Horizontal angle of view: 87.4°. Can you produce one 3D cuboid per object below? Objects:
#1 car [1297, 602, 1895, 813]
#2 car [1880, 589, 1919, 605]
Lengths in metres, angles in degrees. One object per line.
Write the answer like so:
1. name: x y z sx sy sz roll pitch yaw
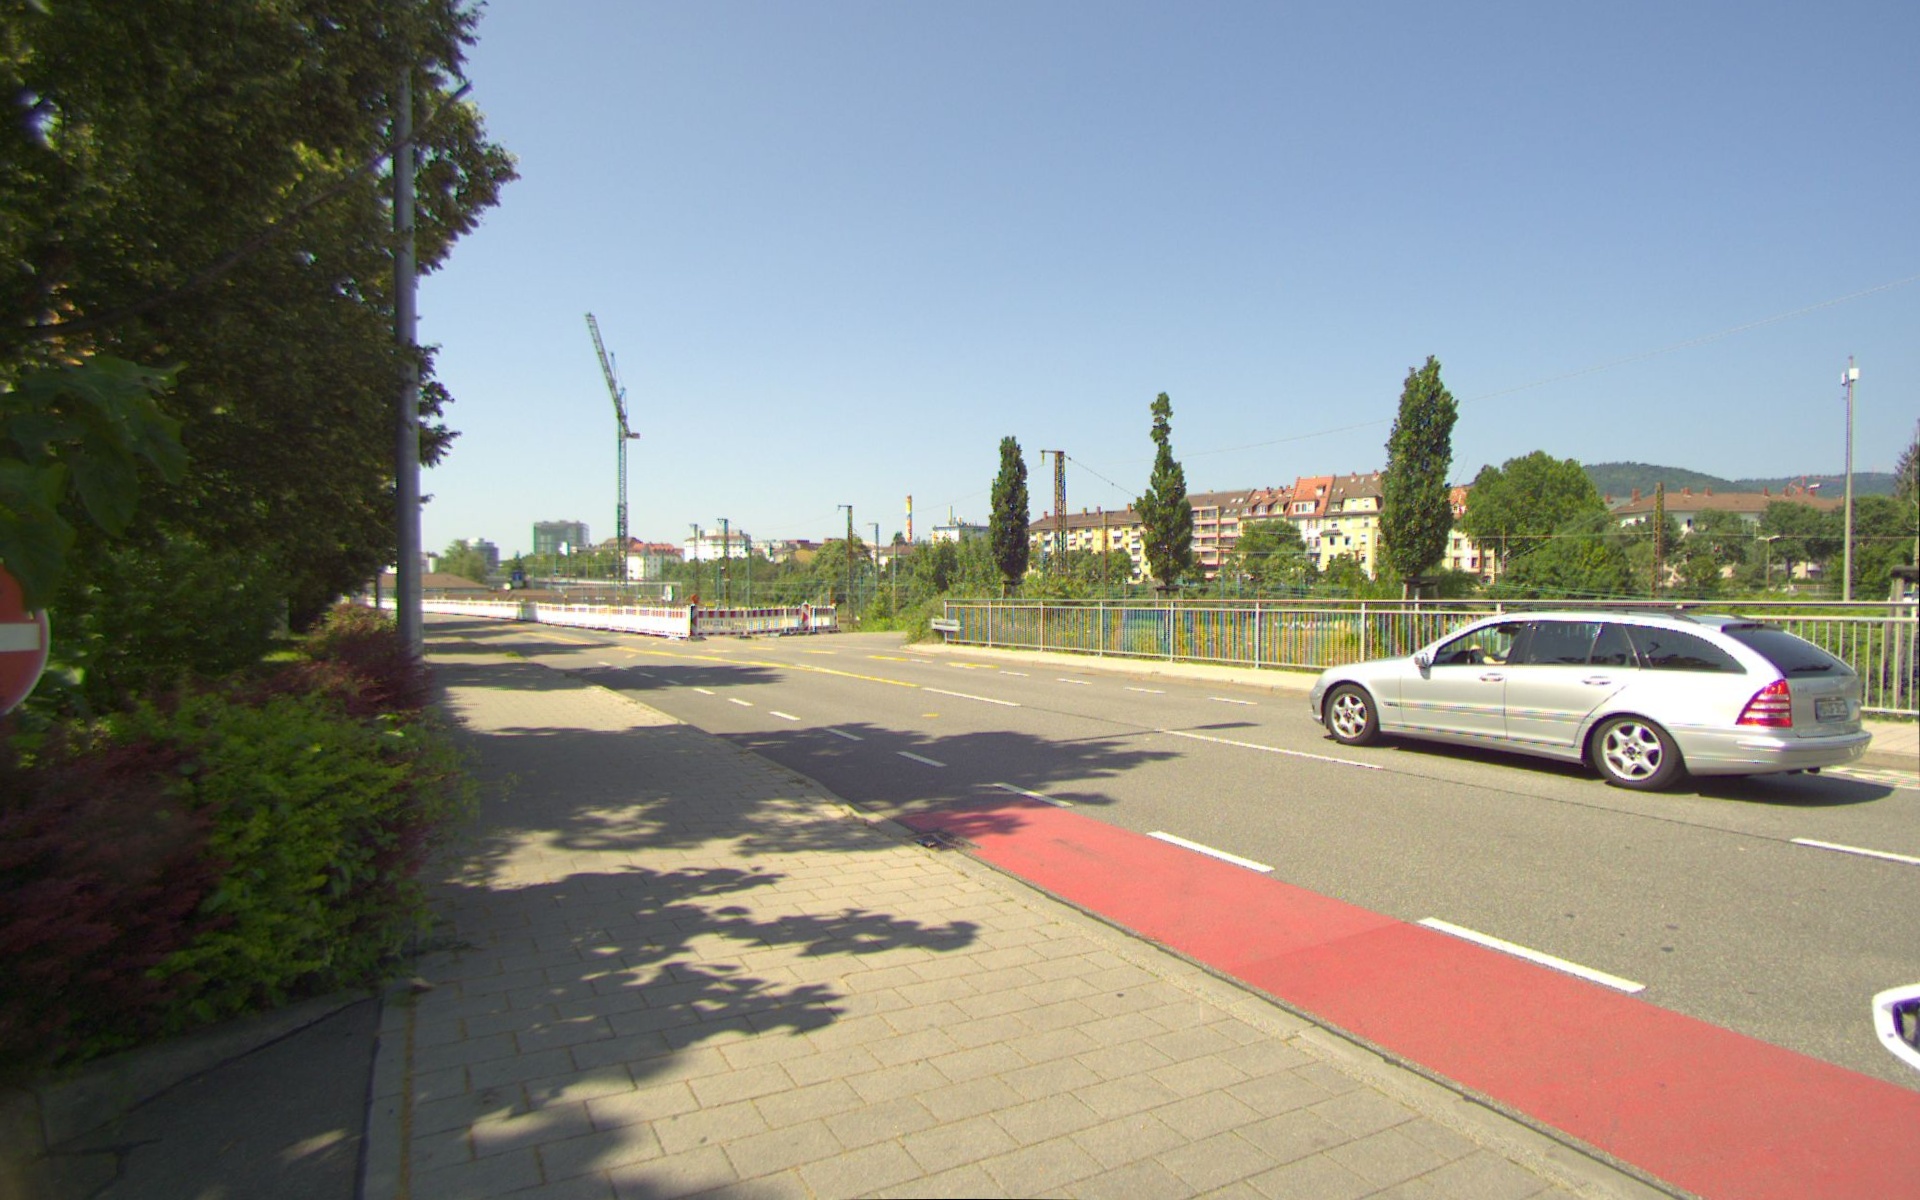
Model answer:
1. car: 5.361 0.748 9.166 1.693 1.422 4.353 1 0 -29
2. car: 79.970 -0.262 84.134 1.829 1.385 4.315 0 0 0
